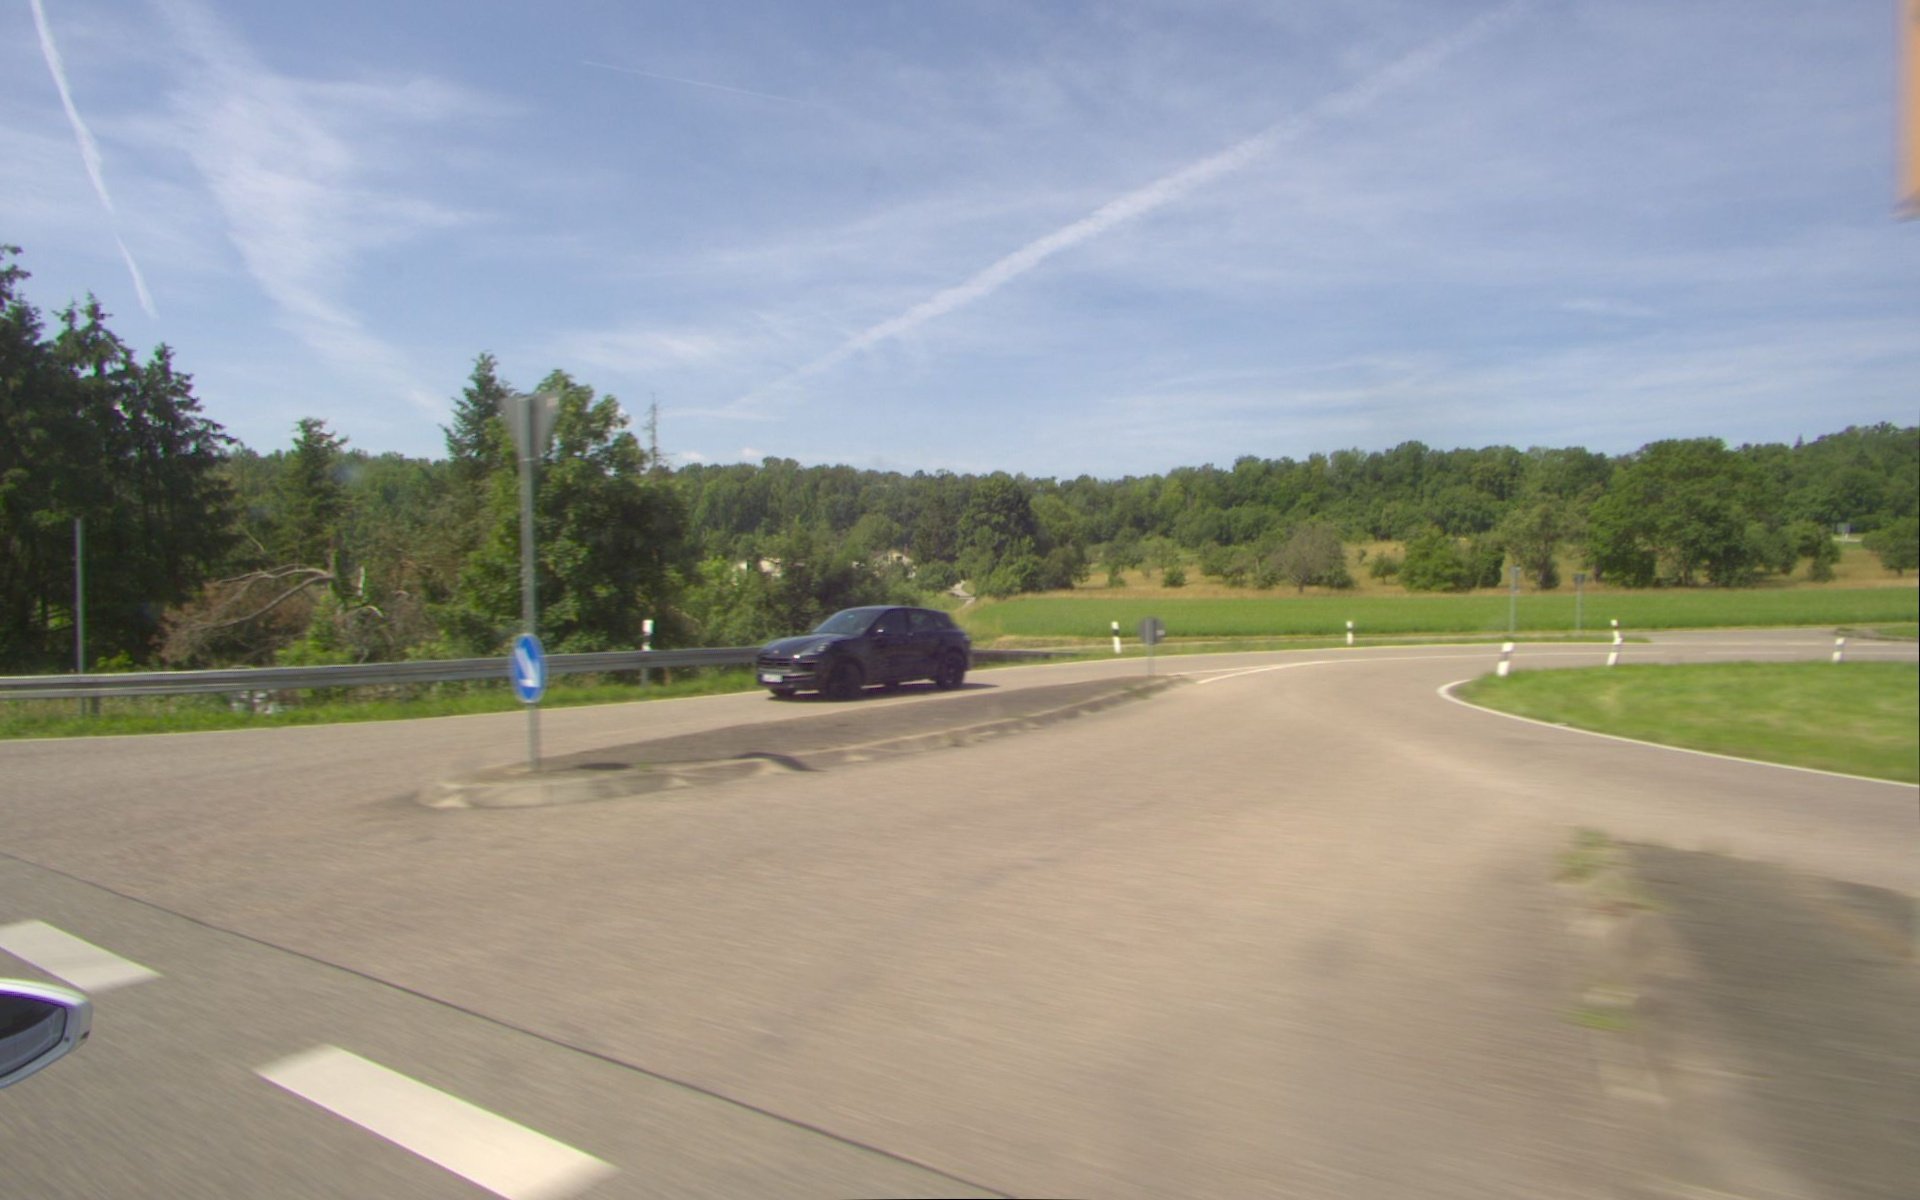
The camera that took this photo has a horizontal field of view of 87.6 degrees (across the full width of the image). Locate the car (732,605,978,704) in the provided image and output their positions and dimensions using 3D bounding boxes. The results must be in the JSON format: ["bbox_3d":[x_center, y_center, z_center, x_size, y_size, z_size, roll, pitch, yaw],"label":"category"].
[{"bbox_3d":[-1.844,0.911,18.734,2.040,1.610,4.393,-1,0,41],"label":"car"}]
